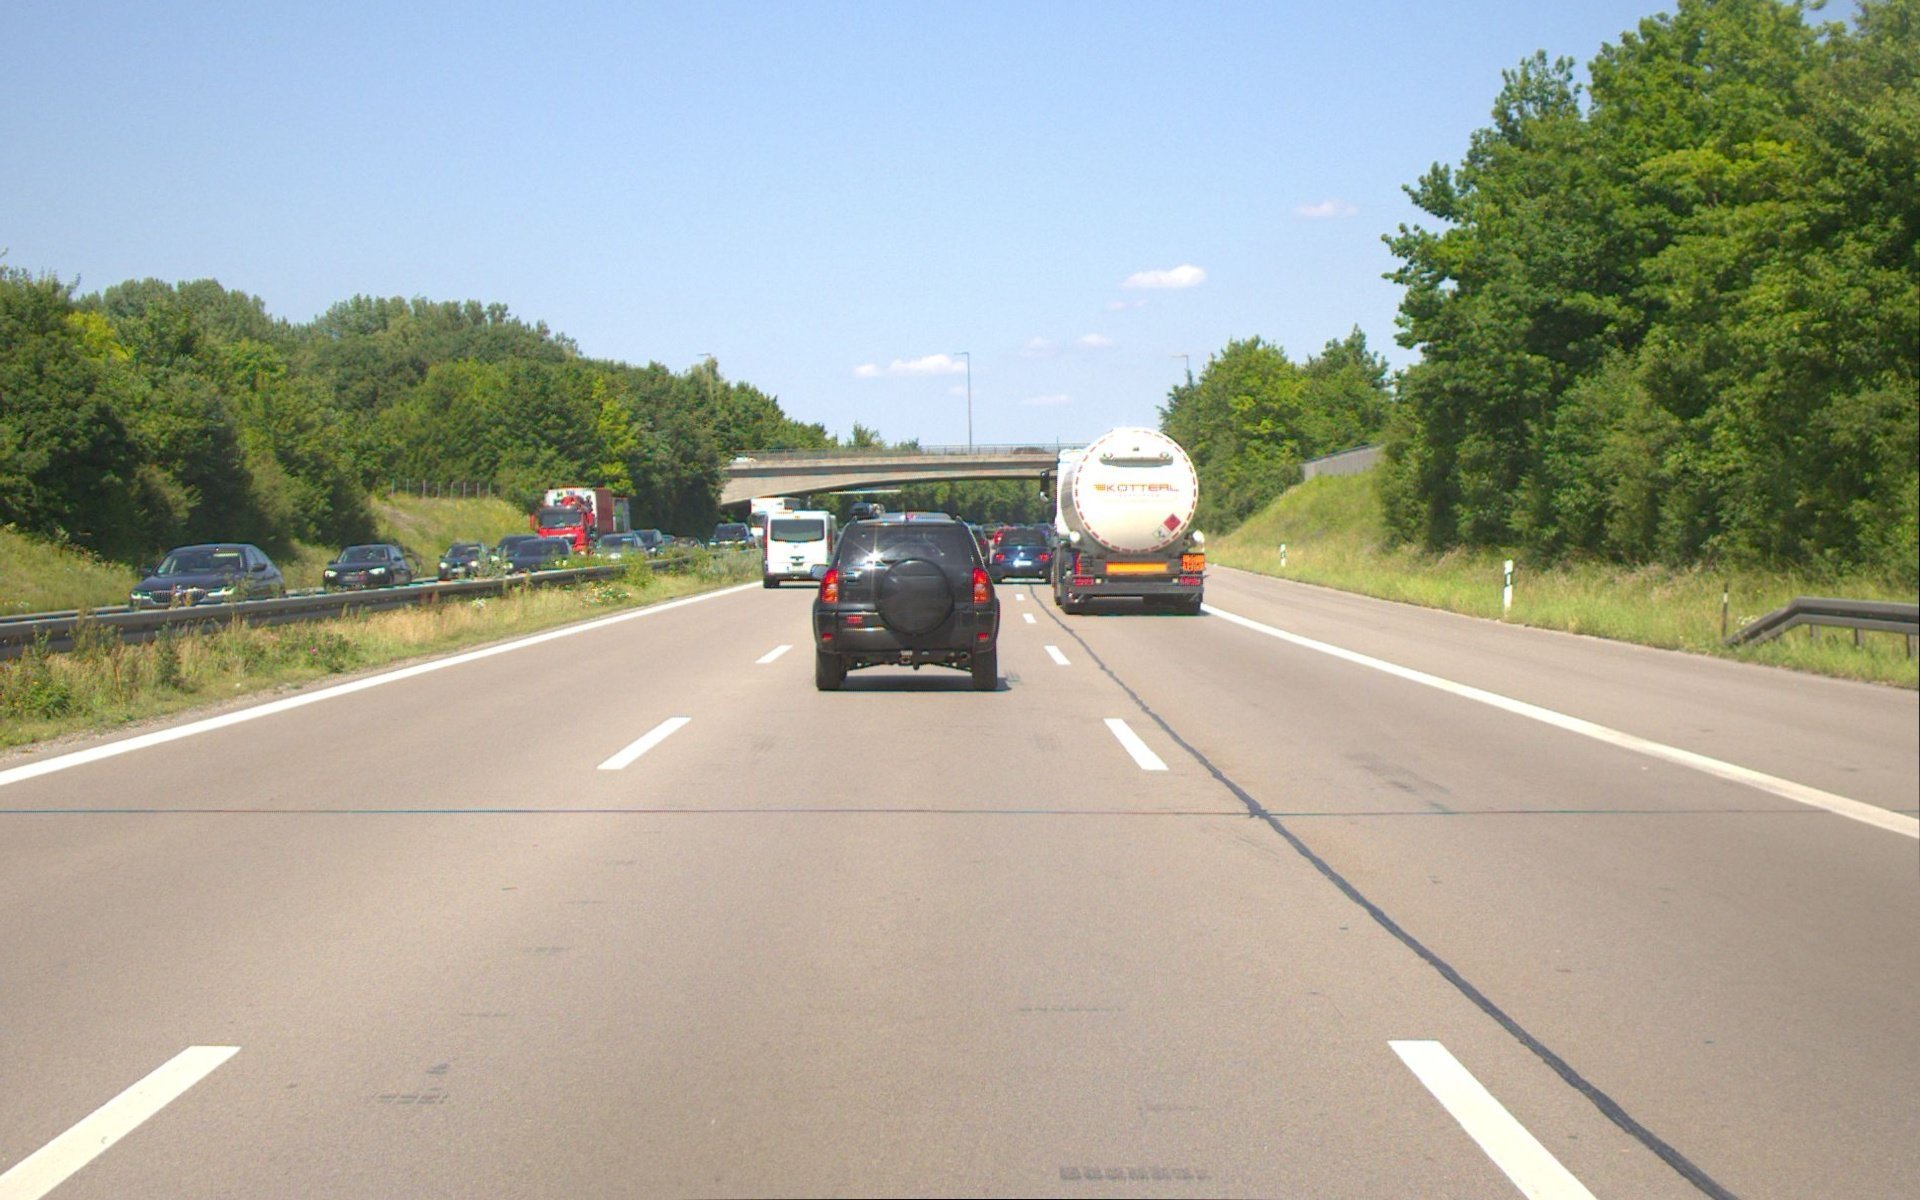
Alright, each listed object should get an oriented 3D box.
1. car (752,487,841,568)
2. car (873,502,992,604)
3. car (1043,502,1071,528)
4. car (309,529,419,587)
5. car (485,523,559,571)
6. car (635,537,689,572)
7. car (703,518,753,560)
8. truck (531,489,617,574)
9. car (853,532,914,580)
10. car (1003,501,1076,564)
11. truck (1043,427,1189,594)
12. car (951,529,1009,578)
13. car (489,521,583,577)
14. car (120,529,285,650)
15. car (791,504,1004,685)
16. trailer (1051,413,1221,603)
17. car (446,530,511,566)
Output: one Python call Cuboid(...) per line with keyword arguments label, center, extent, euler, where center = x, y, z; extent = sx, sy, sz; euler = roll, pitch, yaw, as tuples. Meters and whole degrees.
Cuboid(label="car", center=(-4.282, -1.912, 90.738), extent=(1.993, 2.007, 4.950), euler=(-2, 1, 1))
Cuboid(label="car", center=(-0.473, -0.858, 61.375), extent=(1.993, 1.700, 4.336), euler=(-2, 1, 0))
Cuboid(label="car", center=(6.636, -5.824, 236.176), extent=(1.812, 1.740, 4.000), euler=(-1, 1, 1))
Cuboid(label="car", center=(-16.379, -1.172, 94.732), extent=(1.993, 1.470, 5.623), euler=(-1, 1, 0))
Cuboid(label="car", center=(-15.556, -1.910, 122.243), extent=(1.993, 1.624, 4.575), euler=(-1, 1, 0))
Cuboid(label="car", center=(-11.692, -1.802, 135.157), extent=(1.668, 1.312, 4.121), euler=(-1, 1, 1))
Cuboid(label="car", center=(-10.810, -2.850, 160.474), extent=(1.993, 1.859, 4.899), euler=(-1, 1, -1))
Cuboid(label="truck", center=(-18.117, -3.267, 161.804), extent=(2.679, 3.756, 9.919), euler=(-2, 1, 1))
Cuboid(label="car", center=(-2.568, -1.474, 115.776), extent=(1.993, 1.547, 4.000), euler=(-1, 0, -1))
Cuboid(label="car", center=(2.252, -1.881, 96.372), extent=(1.993, 1.678, 4.000), euler=(-1, 0, 2))
Cuboid(label="truck", center=(3.216, -1.881, 72.416), extent=(2.638, 3.363, 6.488), euler=(0, 1, -1))
Cuboid(label="car", center=(0.759, -1.739, 127.199), extent=(1.994, 1.744, 4.205), euler=(-1, 1, 2))
Cuboid(label="car", center=(-11.906, -1.462, 96.806), extent=(1.993, 1.470, 4.831), euler=(-1, 1, 0))
Cuboid(label="car", center=(-12.589, -0.218, 57.404), extent=(1.690, 1.875, 5.019), euler=(-1, 1, -1))
Cuboid(label="car", center=(-0.558, -0.092, 33.972), extent=(1.906, 1.659, 4.000), euler=(-1, 1, 1))
Cuboid(label="trailer", center=(3.273, -1.766, 66.574), extent=(2.648, 3.378, 11.152), euler=(0, 1, 0))
Cuboid(label="car", center=(-18.662, -2.027, 133.435), extent=(1.747, 1.293, 5.063), euler=(-2, 1, 0))
